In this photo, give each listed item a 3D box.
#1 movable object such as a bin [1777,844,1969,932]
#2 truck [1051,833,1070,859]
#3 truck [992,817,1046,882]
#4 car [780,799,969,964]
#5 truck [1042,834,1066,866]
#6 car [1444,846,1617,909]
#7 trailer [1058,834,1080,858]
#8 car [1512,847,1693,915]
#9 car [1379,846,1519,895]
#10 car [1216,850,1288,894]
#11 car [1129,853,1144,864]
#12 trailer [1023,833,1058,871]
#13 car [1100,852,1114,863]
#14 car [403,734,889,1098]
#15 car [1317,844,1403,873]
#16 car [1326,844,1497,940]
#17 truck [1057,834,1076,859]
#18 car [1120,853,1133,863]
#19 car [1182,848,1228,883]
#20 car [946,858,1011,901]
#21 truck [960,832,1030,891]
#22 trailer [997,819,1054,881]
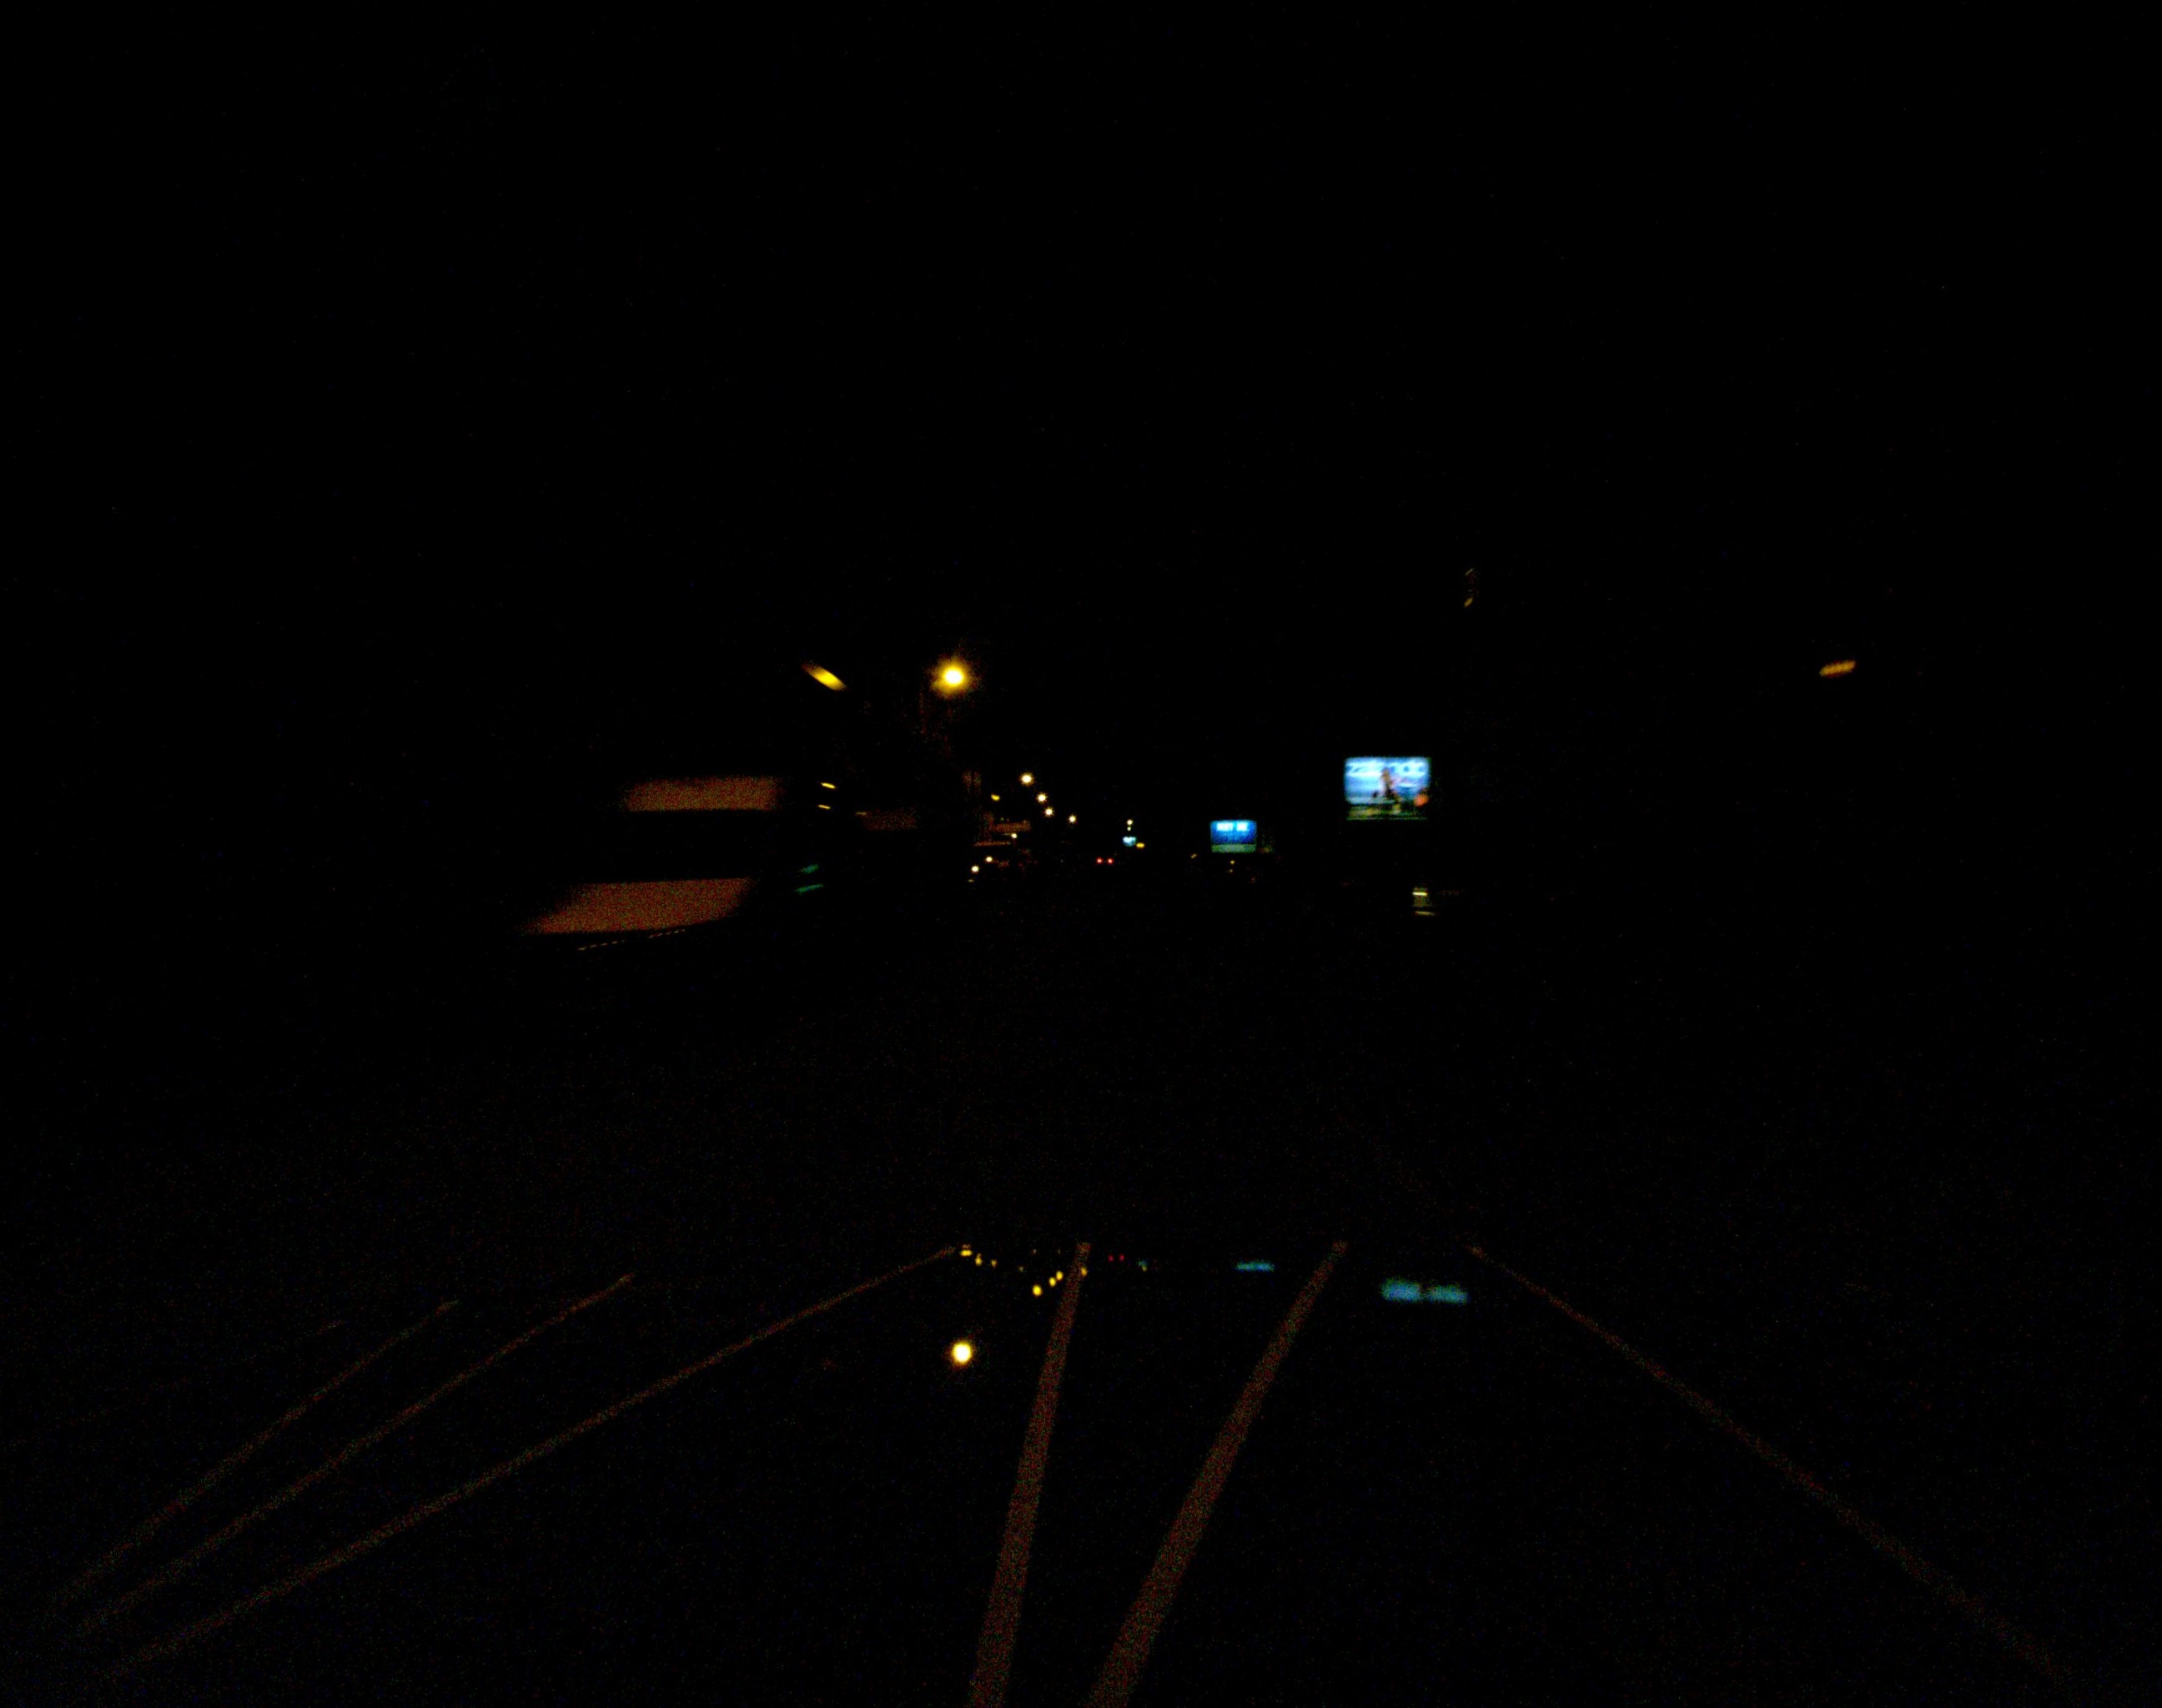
[{"bbox_3d":[14.479,0.589,13.987,1.862,1.491,1.609,-1,1,1],"label":"movable object such as a bin"},{"bbox_3d":[-3.435,-1.239,127.723,2.660,3.851,10.232,-2,-1,1],"label":"truck"},{"bbox_3d":[-3.757,-0.288,47.436,2.772,3.742,5.227,-2,1,1],"label":"truck"},{"bbox_3d":[-3.784,0.440,15.296,1.998,2.556,6.013,-4,0,0],"label":"car"},{"bbox_3d":[-3.549,-0.492,101.715,2.797,3.947,9.820,-2,0,0],"label":"truck"},{"bbox_3d":[12.418,0.569,20.937,4.679,1.542,1.995,-1,1,-29],"label":"car"},{"bbox_3d":[-2.233,-1.606,152.374,3.072,4.449,13.413,-2,1,4],"label":"trailer"},{"bbox_3d":[12.579,0.577,18.281,4.421,1.432,1.789,-1,1,-29],"label":"car"},{"bbox_3d":[12.729,0.518,26.267,4.420,1.551,1.996,-1,1,-24],"label":"car"},{"bbox_3d":[7.047,0.683,31.852,1.952,1.678,4.815,-1,0,0],"label":"car"},{"bbox_3d":[6.967,0.572,95.486,1.761,1.382,4.309,-1,0,2],"label":"car"},{"bbox_3d":[-3.867,-0.208,74.745,2.885,3.504,8.283,-1,0,1],"label":"trailer"},{"bbox_3d":[3.463,0.498,102.103,1.825,1.429,4.398,-1,0,1],"label":"car"},{"bbox_3d":[-3.938,0.451,8.564,2.134,2.556,5.907,-4,0,-3],"label":"car"},{"bbox_3d":[16.660,0.265,45.535,4.410,1.644,1.922,-1,0,3],"label":"car"},{"bbox_3d":[7.136,0.720,16.954,1.818,1.838,4.414,-1,1,-1],"label":"car"},{"bbox_3d":[-2.754,-1.470,145.659,3.072,4.449,5.635,-2,1,4],"label":"truck"},{"bbox_3d":[6.791,0.540,114.595,1.690,1.357,3.879,-2,1,1],"label":"car"},{"bbox_3d":[6.924,0.605,42.725,1.809,1.788,4.878,-1,0,1],"label":"car"},{"bbox_3d":[-3.949,0.952,30.081,1.834,1.399,4.908,-4,0,0],"label":"car"},{"bbox_3d":[-4.077,0.318,37.408,2.407,2.579,6.597,-1,0,2],"label":"truck"},{"bbox_3d":[-3.682,-0.358,54.375,2.772,3.742,14.654,-2,1,1],"label":"trailer"}]
